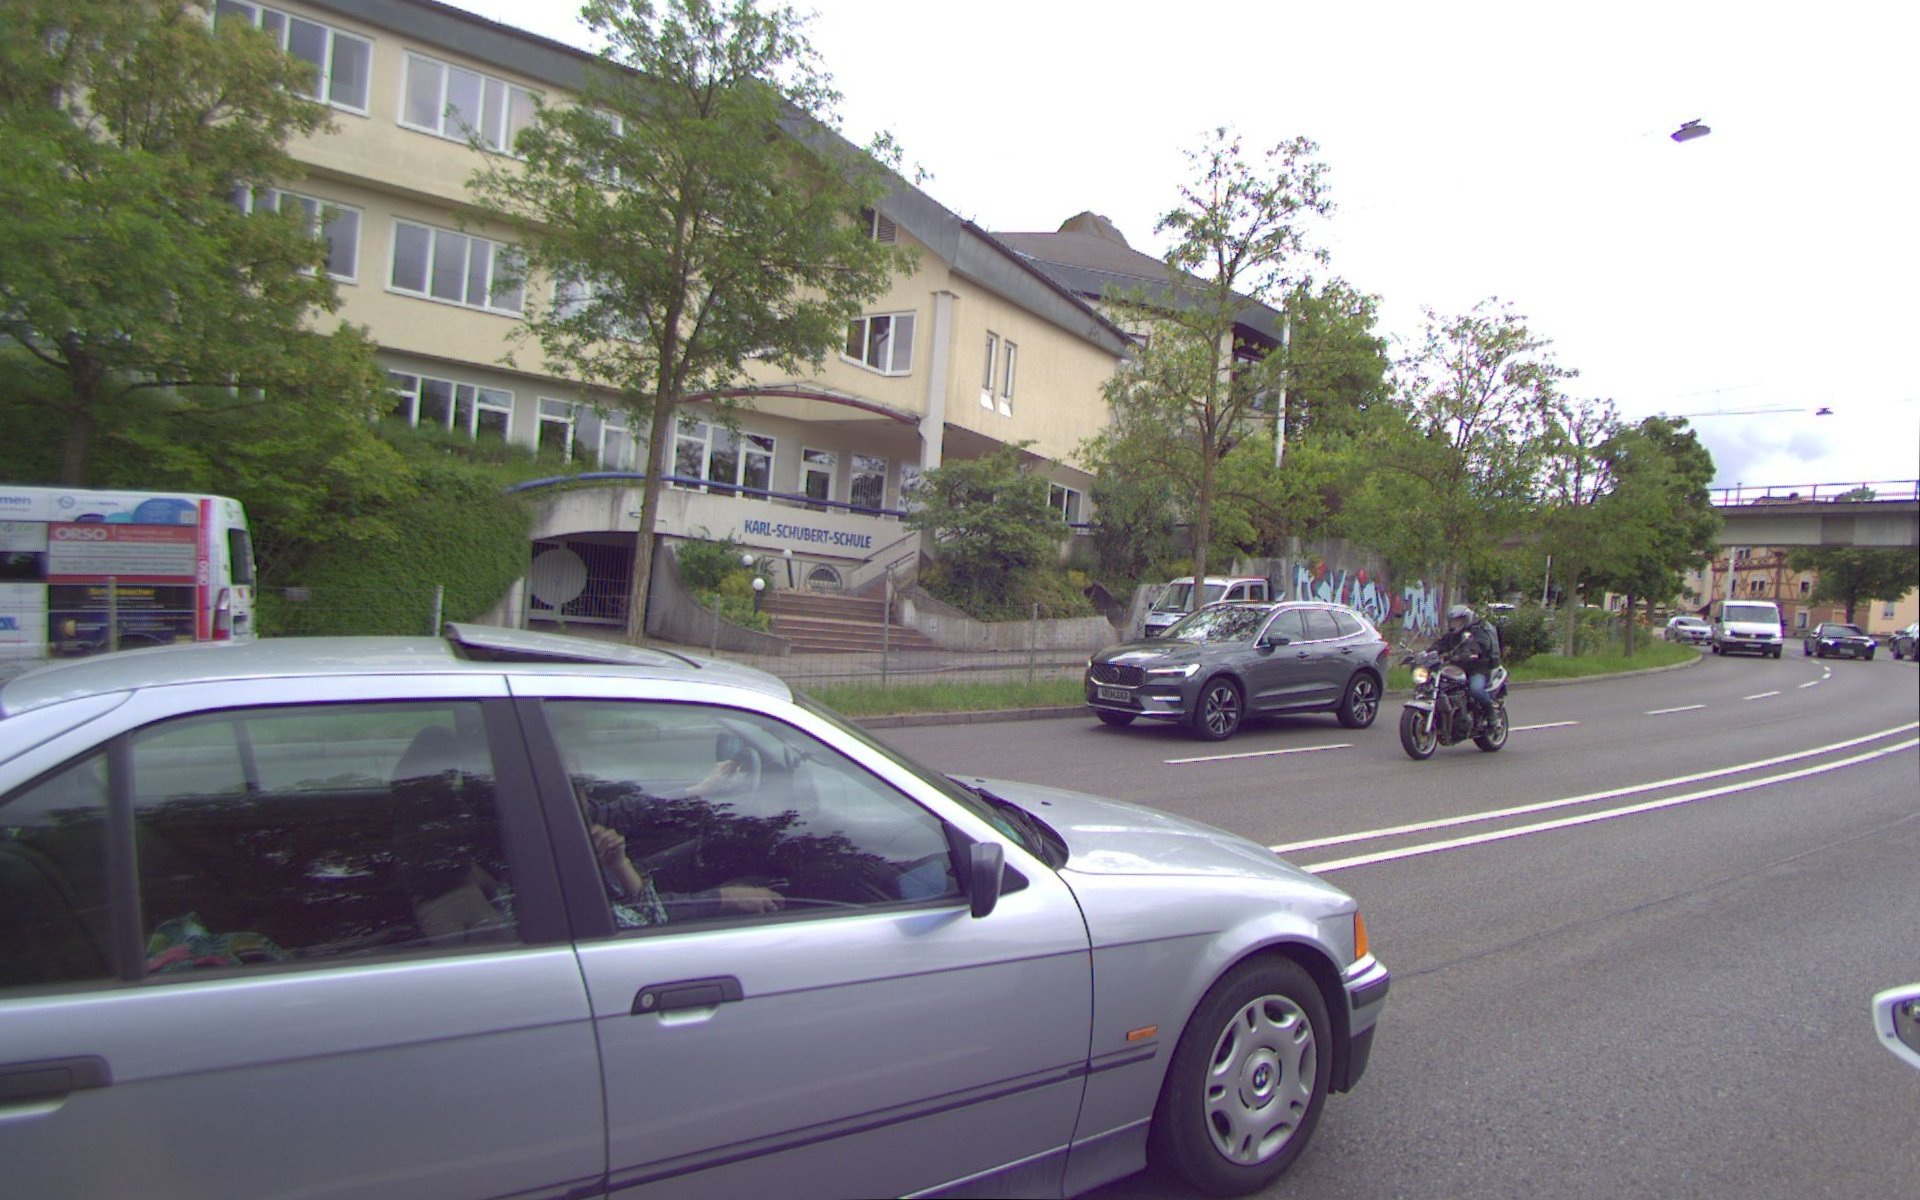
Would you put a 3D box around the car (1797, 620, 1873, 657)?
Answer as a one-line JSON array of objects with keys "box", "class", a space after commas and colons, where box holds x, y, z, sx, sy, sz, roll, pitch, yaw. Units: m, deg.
[{"box": [37.161, 1.588, 42.771, 1.711, 1.433, 4.419, 1, 0, 32], "class": "car"}]

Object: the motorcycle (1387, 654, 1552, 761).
[{"box": [5.607, 1.137, 11.000, 2.242, 1.070, 0.481, 2, -2, -31], "class": "motorcycle"}]

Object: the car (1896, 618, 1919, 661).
[{"box": [39.408, 1.632, 40.751, 1.701, 1.662, 3.442, 3, 1, 38], "class": "car"}]

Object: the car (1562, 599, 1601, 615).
[{"box": [57.368, 0.628, 92.720, 1.693, 1.394, 3.458, 3, 1, 6], "class": "car"}]

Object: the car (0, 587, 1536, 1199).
[{"box": [-0.760, 0.739, 2.465, 4.564, 1.401, 1.627, 2, 1, -29], "class": "car"}]

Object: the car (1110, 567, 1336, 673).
[{"box": [6.645, 0.497, 24.823, 6.278, 2.303, 2.247, 2, 0, -41], "class": "car"}]

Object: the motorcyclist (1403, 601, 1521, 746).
[{"box": [5.480, 0.779, 10.978, 0.949, 1.504, 0.757, 2, -2, -30], "class": "motorcyclist"}]

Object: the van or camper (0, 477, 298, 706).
[{"box": [-11.266, -0.116, 11.733, 5.637, 2.506, 1.986, 2, 0, -27], "class": "van or camper"}]

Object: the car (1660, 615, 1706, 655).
[{"box": [39.936, 1.885, 55.539, 1.803, 1.929, 3.924, 5, 3, 34], "class": "car"}]

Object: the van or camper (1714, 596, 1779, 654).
[{"box": [33.653, 1.044, 42.987, 1.984, 2.291, 5.936, 2, 0, 38], "class": "van or camper"}]

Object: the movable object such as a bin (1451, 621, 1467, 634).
[{"box": [27.918, 1.548, 56.204, 0.548, 0.649, 0.581, 6, 4, 10], "class": "movable object such as a bin"}]

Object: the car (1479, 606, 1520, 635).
[{"box": [35.667, 1.307, 66.460, 1.737, 1.809, 4.464, 1, 1, 20], "class": "car"}]

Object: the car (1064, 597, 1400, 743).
[{"box": [3.624, 0.819, 13.059, 4.423, 1.596, 1.774, 2, 0, -35], "class": "car"}]
